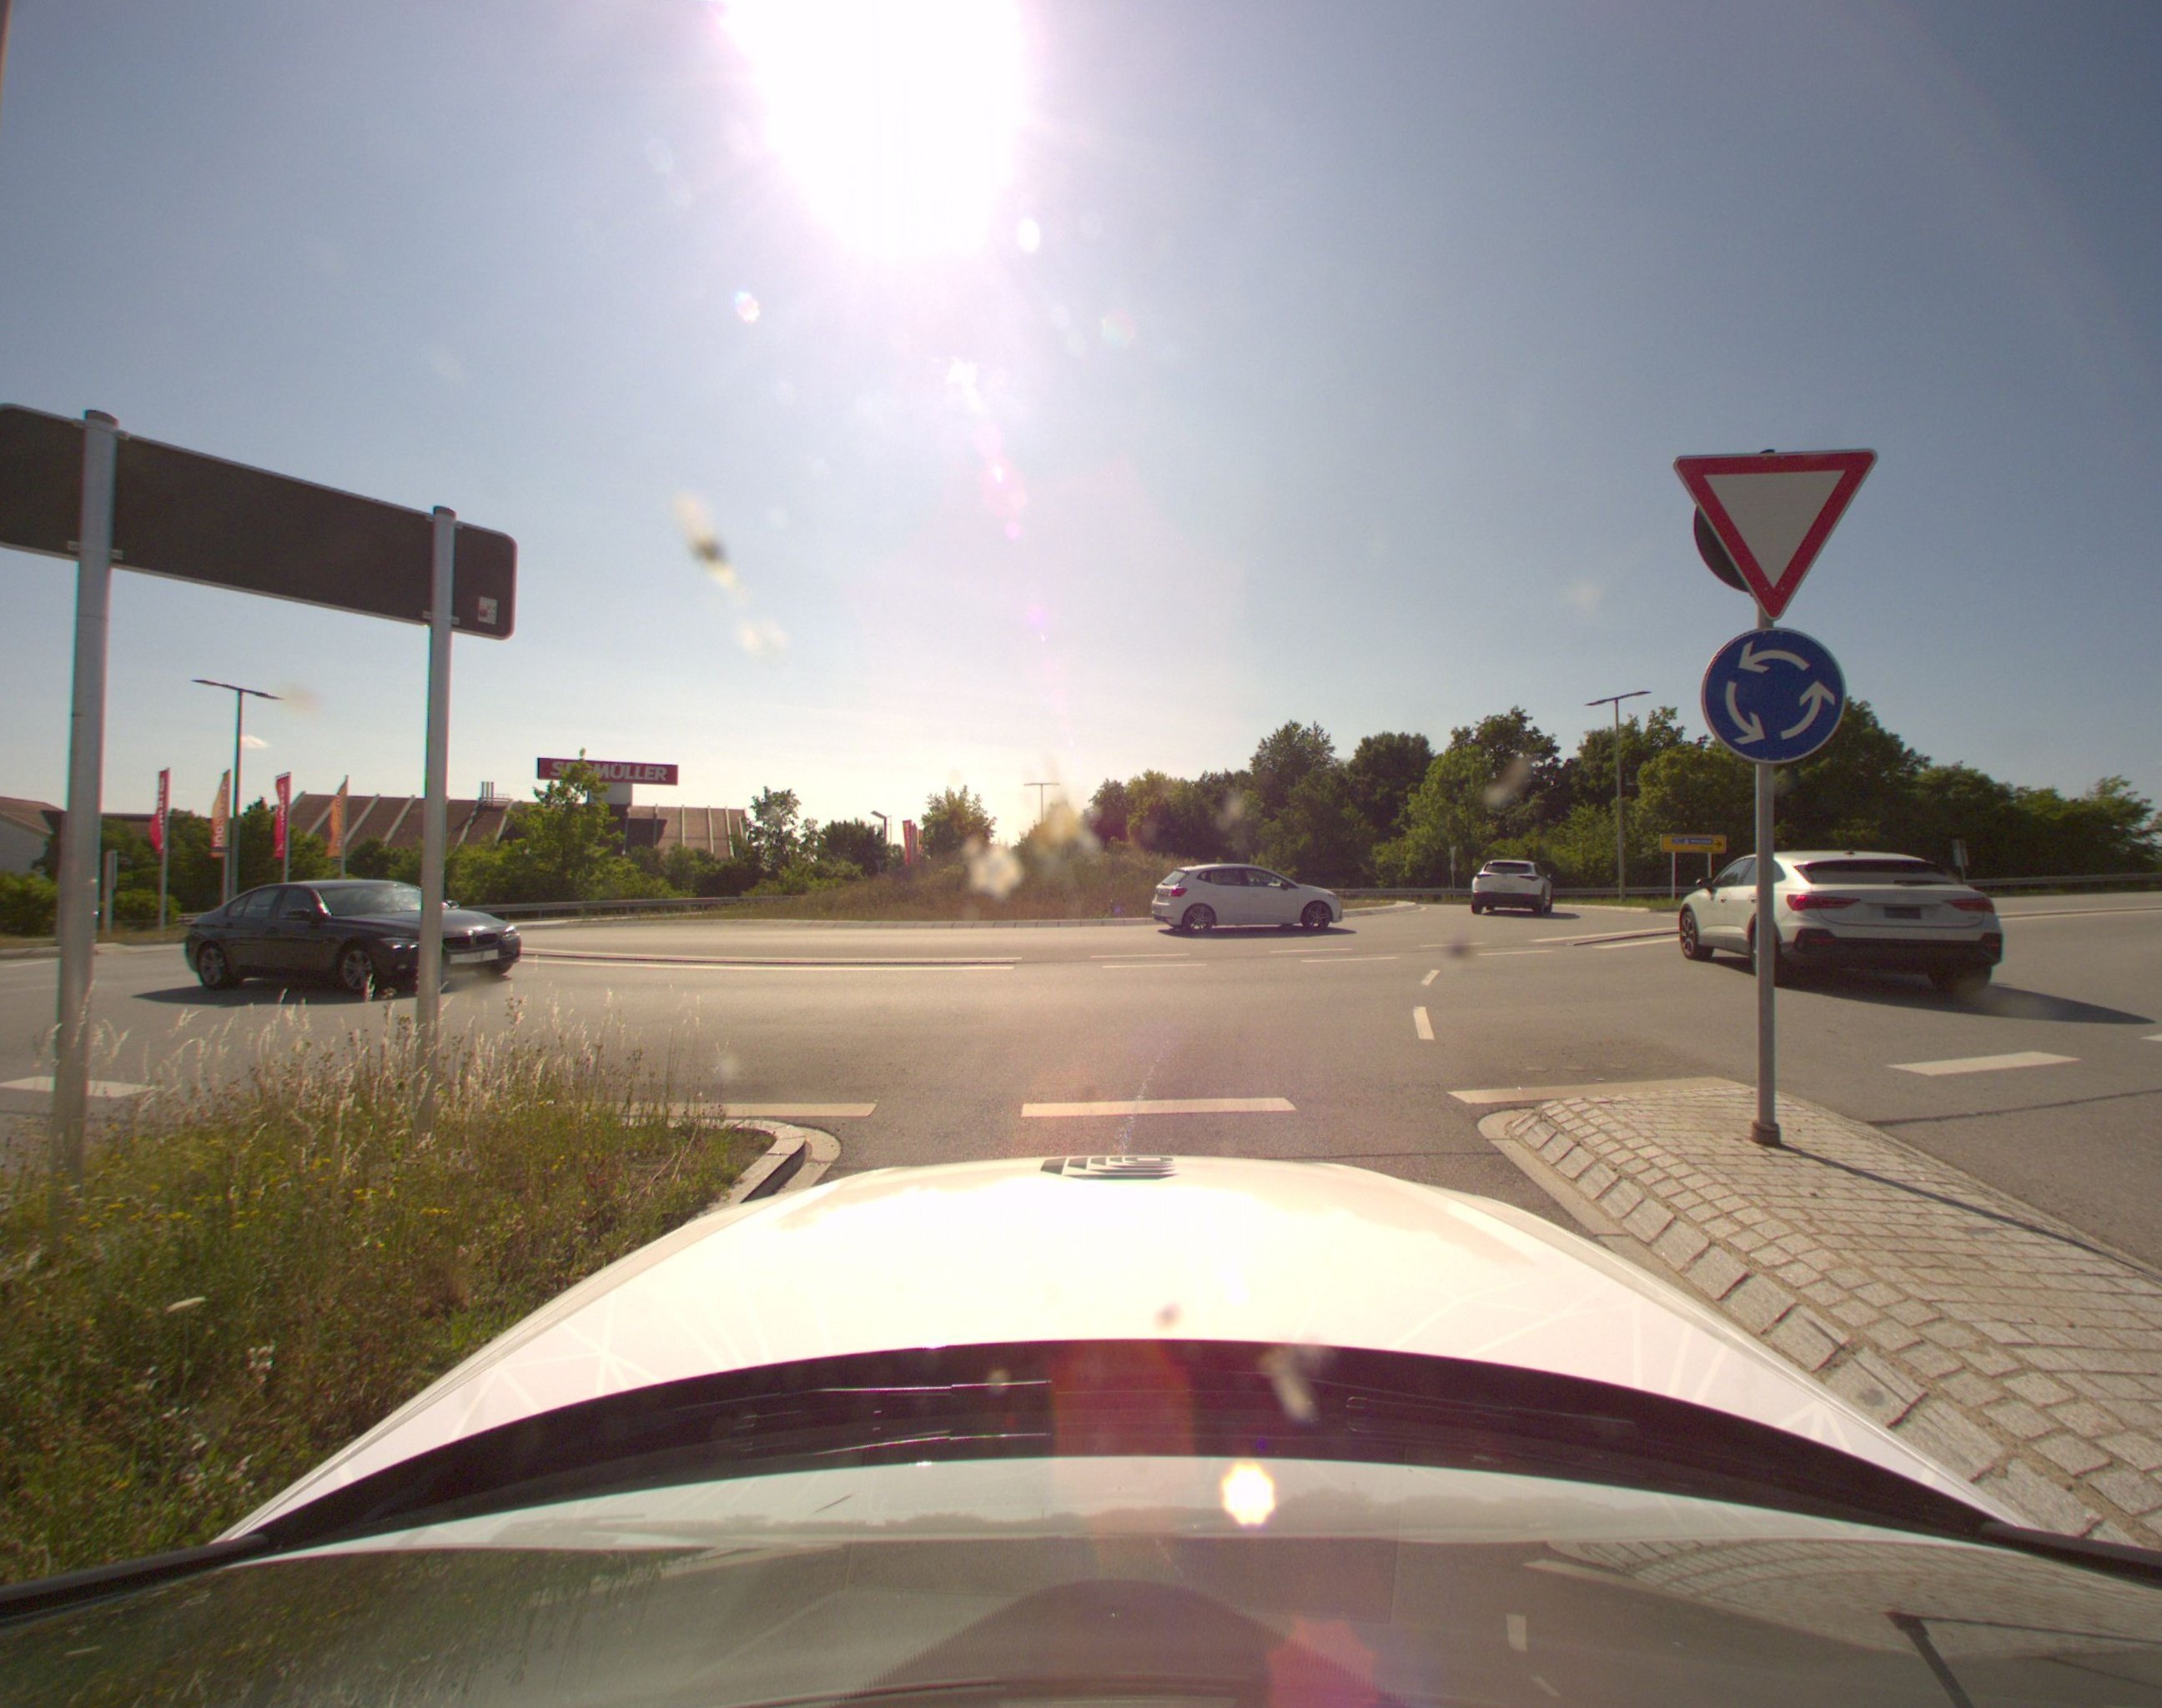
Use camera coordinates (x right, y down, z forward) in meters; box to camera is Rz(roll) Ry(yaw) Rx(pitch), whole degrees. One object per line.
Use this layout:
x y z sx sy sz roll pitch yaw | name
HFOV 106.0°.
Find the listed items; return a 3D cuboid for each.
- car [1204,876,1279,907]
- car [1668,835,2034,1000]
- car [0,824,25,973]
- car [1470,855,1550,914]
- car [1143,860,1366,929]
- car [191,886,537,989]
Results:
8.915 2.062 45.466 1.790 1.596 3.955 1 -1 -37 | car
9.146 0.645 10.234 1.825 1.596 4.347 -1 -1 21 | car
-24.316 0.857 15.520 6.089 2.921 2.087 0 -1 5 | car
12.419 0.847 23.443 1.768 1.530 4.314 -2 -2 31 | car
3.661 0.837 17.592 4.397 1.405 1.788 0 -1 -7 | car
-9.771 1.064 11.176 3.824 1.182 1.683 0 -1 15 | car
